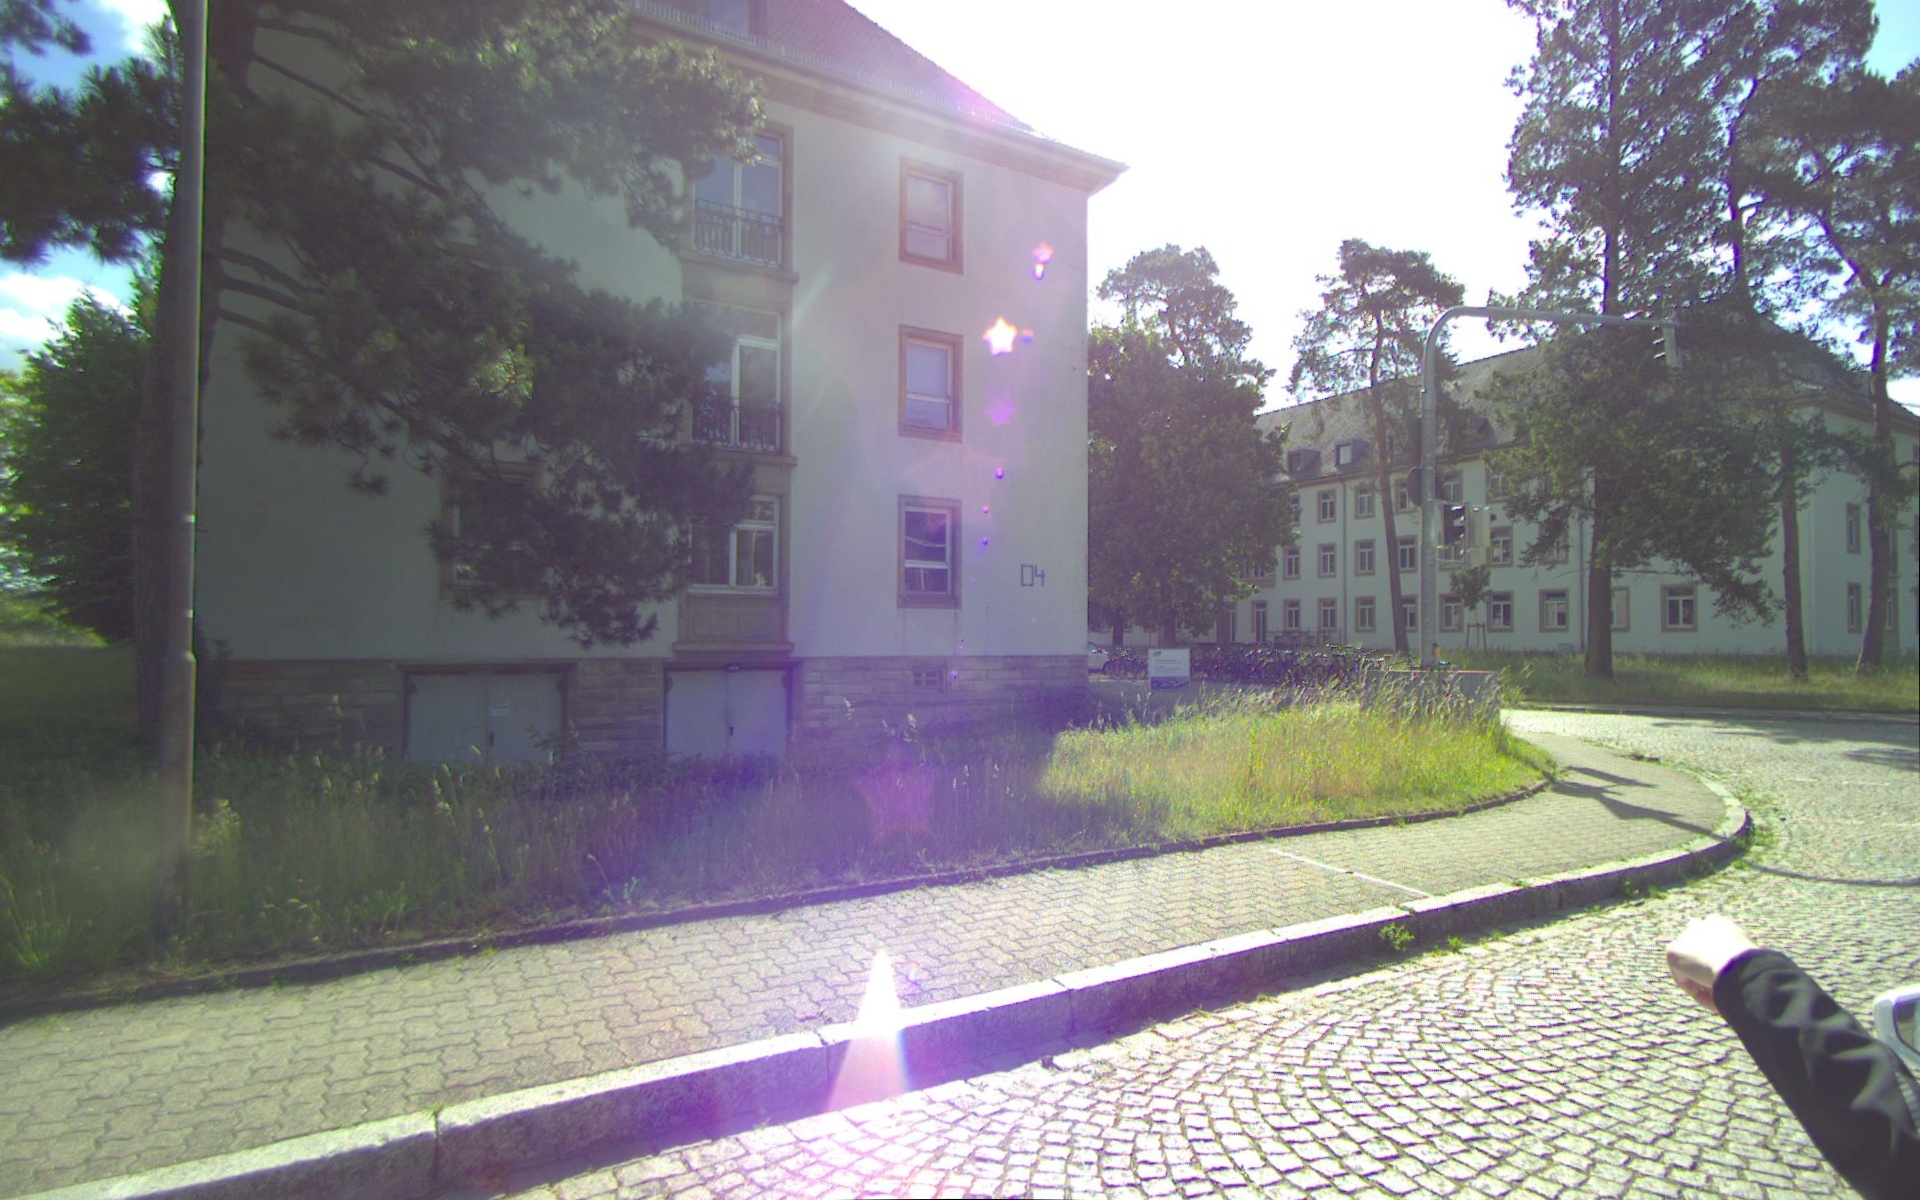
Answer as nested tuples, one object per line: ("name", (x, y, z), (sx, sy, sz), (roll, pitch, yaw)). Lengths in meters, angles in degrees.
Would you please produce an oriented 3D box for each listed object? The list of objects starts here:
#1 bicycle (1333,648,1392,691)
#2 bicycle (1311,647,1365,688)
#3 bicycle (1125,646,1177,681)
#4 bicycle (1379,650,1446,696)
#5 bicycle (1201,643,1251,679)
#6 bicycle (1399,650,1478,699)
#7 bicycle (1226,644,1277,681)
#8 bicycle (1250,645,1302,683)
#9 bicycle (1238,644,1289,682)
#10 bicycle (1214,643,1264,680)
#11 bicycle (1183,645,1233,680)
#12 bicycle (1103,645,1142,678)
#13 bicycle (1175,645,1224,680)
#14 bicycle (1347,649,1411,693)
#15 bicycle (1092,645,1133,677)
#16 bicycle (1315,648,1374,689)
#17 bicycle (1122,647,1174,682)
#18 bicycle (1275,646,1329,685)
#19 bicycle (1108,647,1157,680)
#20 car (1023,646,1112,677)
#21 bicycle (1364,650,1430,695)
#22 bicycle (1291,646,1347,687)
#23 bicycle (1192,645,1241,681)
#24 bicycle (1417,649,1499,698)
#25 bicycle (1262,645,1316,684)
("bicycle", (12.051, 2.065, 30.048), (1.967, 1.236, 0.569), (1, -2, -31))
("bicycle", (11.857, 2.092, 31.475), (1.878, 1.236, 0.545), (1, -2, -31))
("bicycle", (7.026, 2.333, 36.931), (1.794, 1.236, 0.515), (-1, -2, 24))
("bicycle", (12.699, 2.034, 28.171), (2.090, 1.236, 0.630), (1, -2, -31))
("bicycle", (9.332, 2.127, 35.206), (1.915, 1.236, 0.511), (1, -2, -31))
("bicycle", (12.687, 1.958, 26.693), (0.627, 1.236, 1.853), (1, -2, -30))
("bicycle", (9.928, 2.114, 34.163), (1.915, 1.236, 0.511), (1, -2, -31))
("bicycle", (10.451, 2.101, 33.194), (1.932, 1.236, 0.511), (1, -2, -31))
("bicycle", (10.183, 2.107, 33.679), (1.915, 1.236, 0.511), (1, -2, -31))
("bicycle", (9.647, 2.121, 34.685), (1.915, 1.236, 0.511), (1, -2, -31))
("bicycle", (8.888, 2.230, 35.977), (1.915, 1.236, 0.511), (1, -2, -31))
("bicycle", (6.389, 2.407, 39.422), (1.815, 1.236, 0.509), (2, -3, -42))
("bicycle", (8.670, 2.235, 36.368), (1.915, 1.236, 0.511), (1, -2, -31))
("bicycle", (12.154, 2.047, 29.110), (2.080, 1.236, 0.630), (1, -2, -31))
("bicycle", (6.072, 2.414, 39.937), (1.813, 1.236, 0.510), (2, -3, -39))
("bicycle", (11.787, 2.078, 30.762), (2.006, 1.236, 0.576), (1, -2, -31))
("bicycle", (6.797, 2.324, 36.325), (1.794, 1.236, 0.515), (-1, -2, 24))
("bicycle", (11.005, 2.097, 32.312), (1.954, 1.236, 0.511), (1, -2, -31))
("bicycle", (6.517, 2.387, 37.922), (1.792, 1.236, 0.516), (0, -2, 6))
("car", (4.566, 2.581, 42.555), (3.550, 1.227, 1.504), (1, -3, -29))
("bicycle", (12.450, 2.040, 28.584), (2.100, 1.236, 0.630), (1, -2, -31))
("bicycle", (11.369, 2.092, 31.776), (1.993, 1.236, 0.511), (1, -2, -31))
("bicycle", (9.103, 2.225, 35.606), (1.915, 1.236, 0.511), (1, -2, -31))
("bicycle", (13.341, 1.951, 26.972), (0.627, 1.236, 1.935), (1, -2, -30))
("bicycle", (10.741, 2.099, 32.756), (1.954, 1.236, 0.511), (1, -2, -31))
